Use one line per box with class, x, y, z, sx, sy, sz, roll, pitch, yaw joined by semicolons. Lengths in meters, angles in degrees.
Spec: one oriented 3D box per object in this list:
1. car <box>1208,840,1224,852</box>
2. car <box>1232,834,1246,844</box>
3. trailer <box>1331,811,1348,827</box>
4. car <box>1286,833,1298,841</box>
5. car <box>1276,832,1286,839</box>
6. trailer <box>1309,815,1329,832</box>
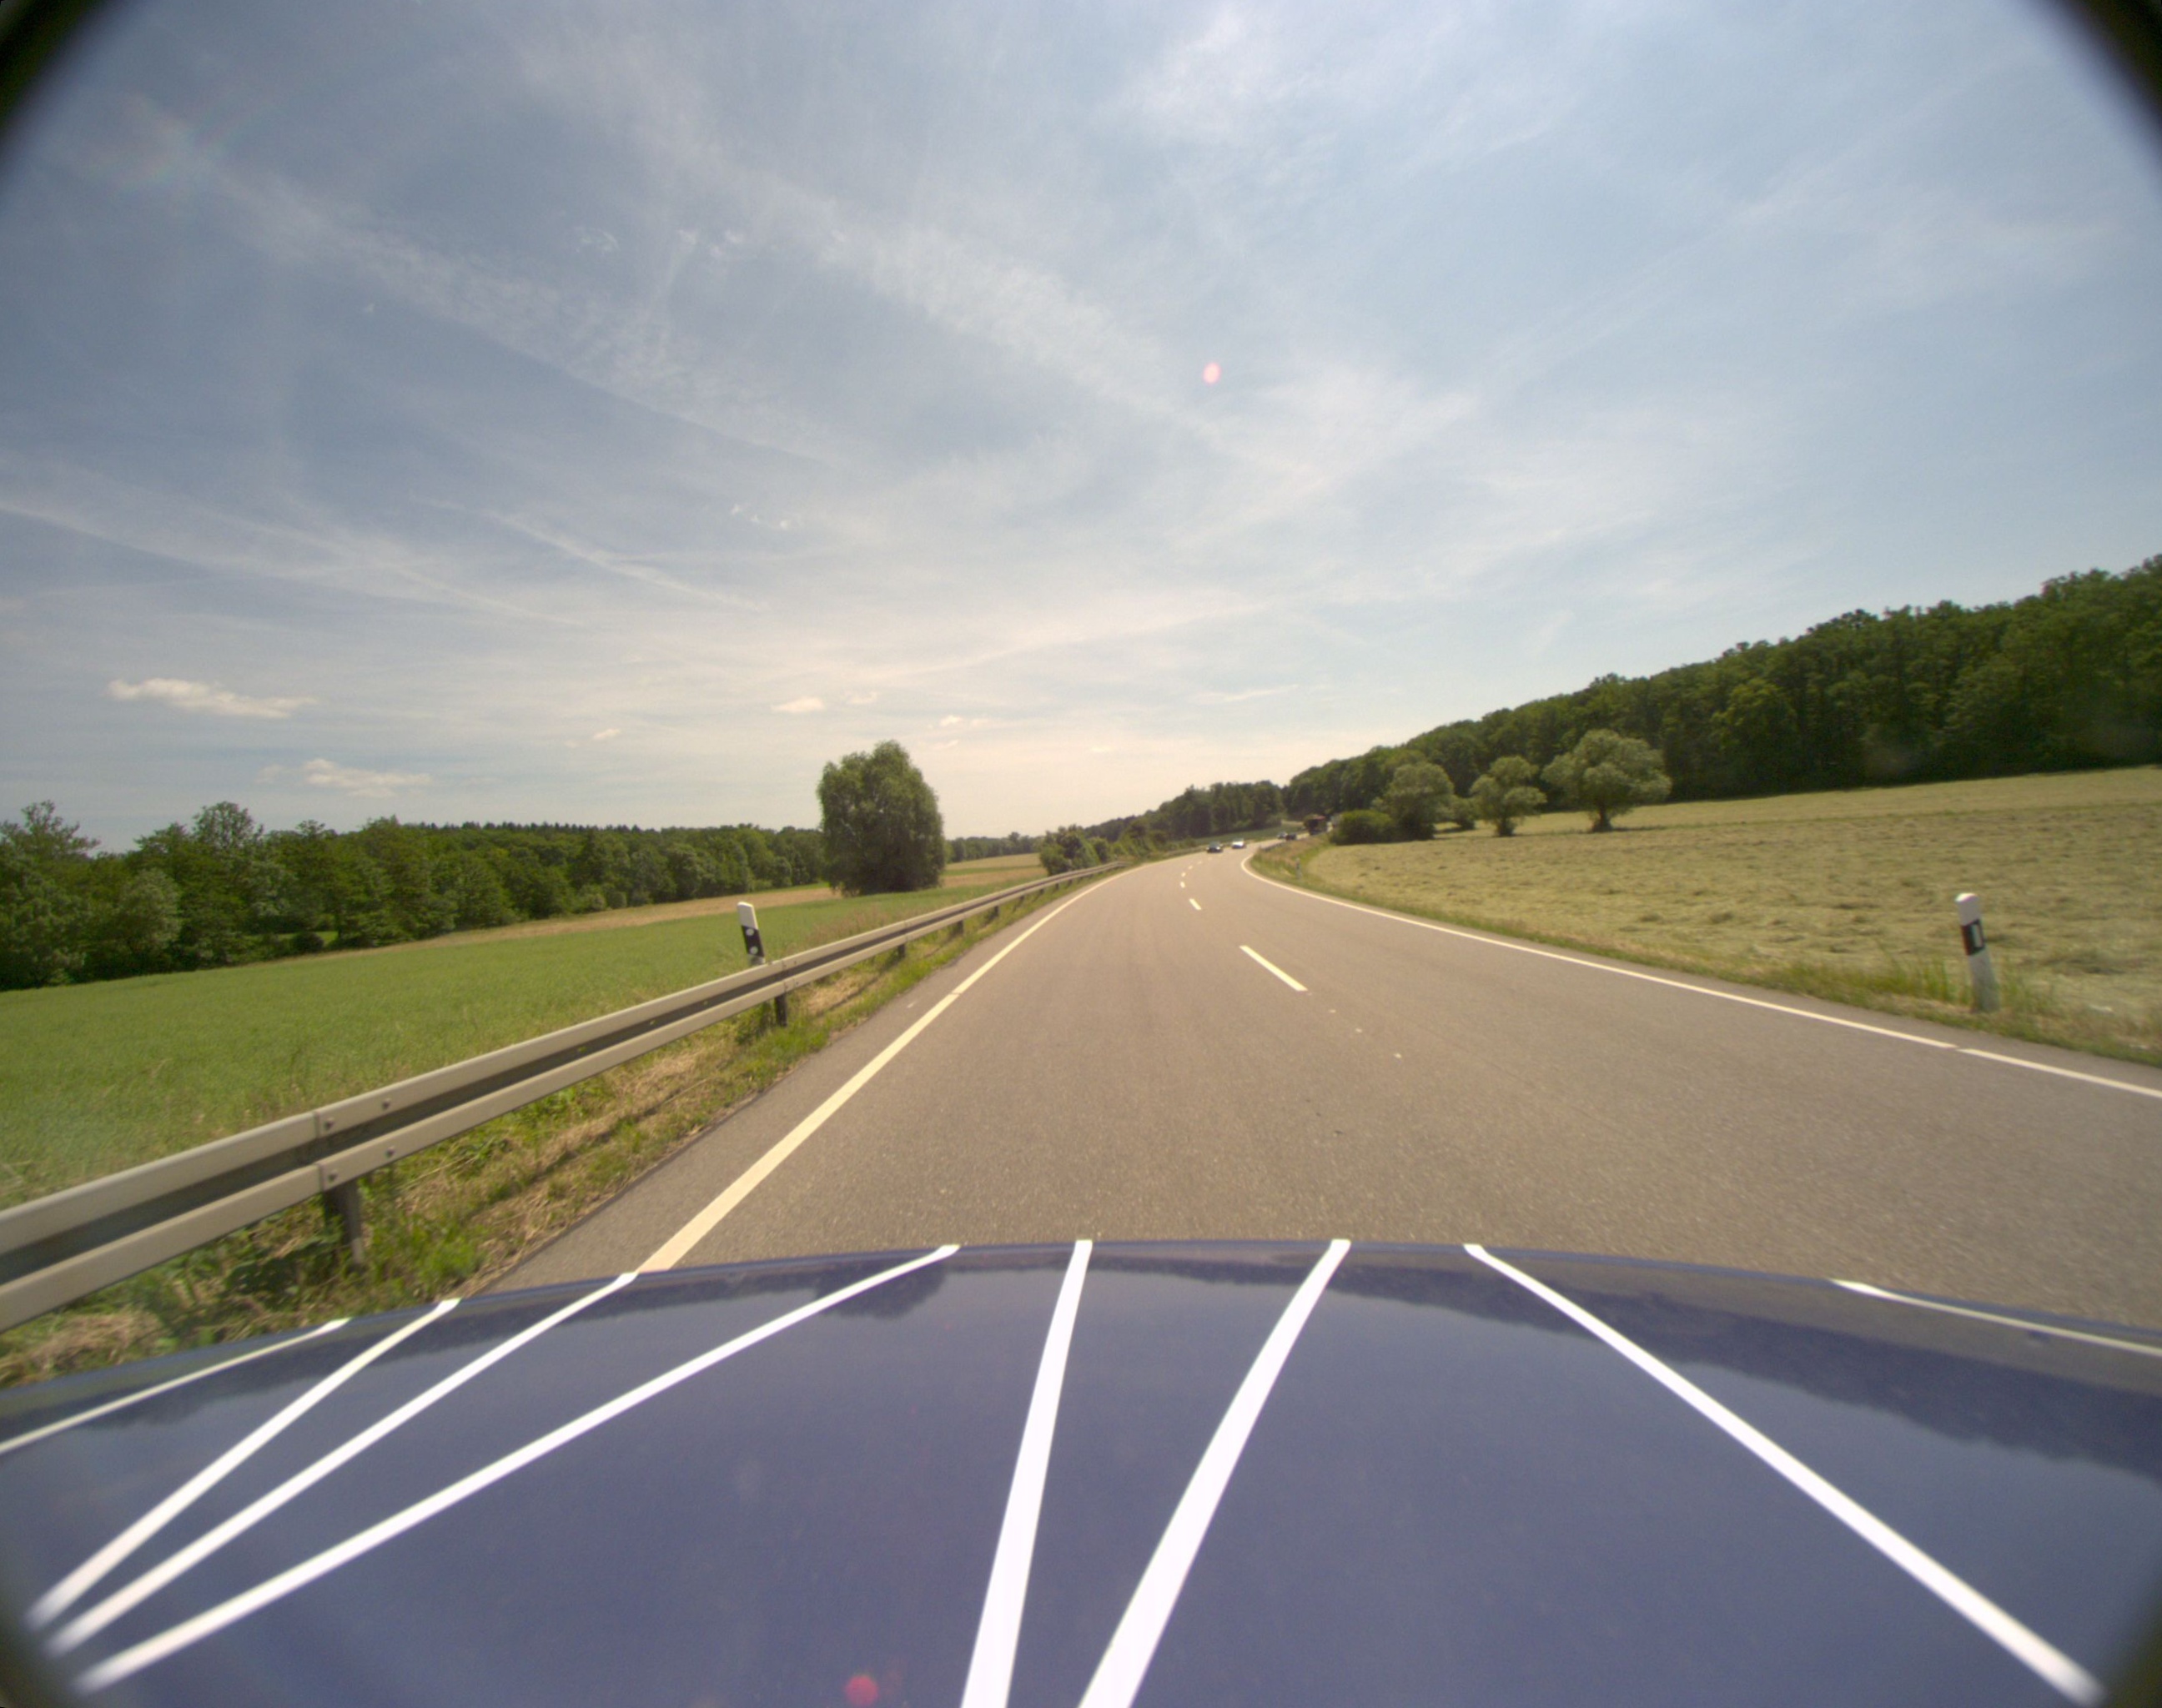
car;18.202;-1.134;102.318;1.620;1.428;3.446;-3;2;16
car;24.752;-2.316;118.953;1.619;1.428;3.446;-3;2;20
trailer;78.543;-10.737;230.907;3.376;4.376;13.763;-1;2;24
car;41.804;-3.447;150.481;1.701;1.461;4.206;-1;2;23
car;43.615;-4.014;165.603;1.619;1.428;3.447;-3;2;24
trailer;59.018;-7.593;188.209;3.244;4.127;14.460;-1;2;22
